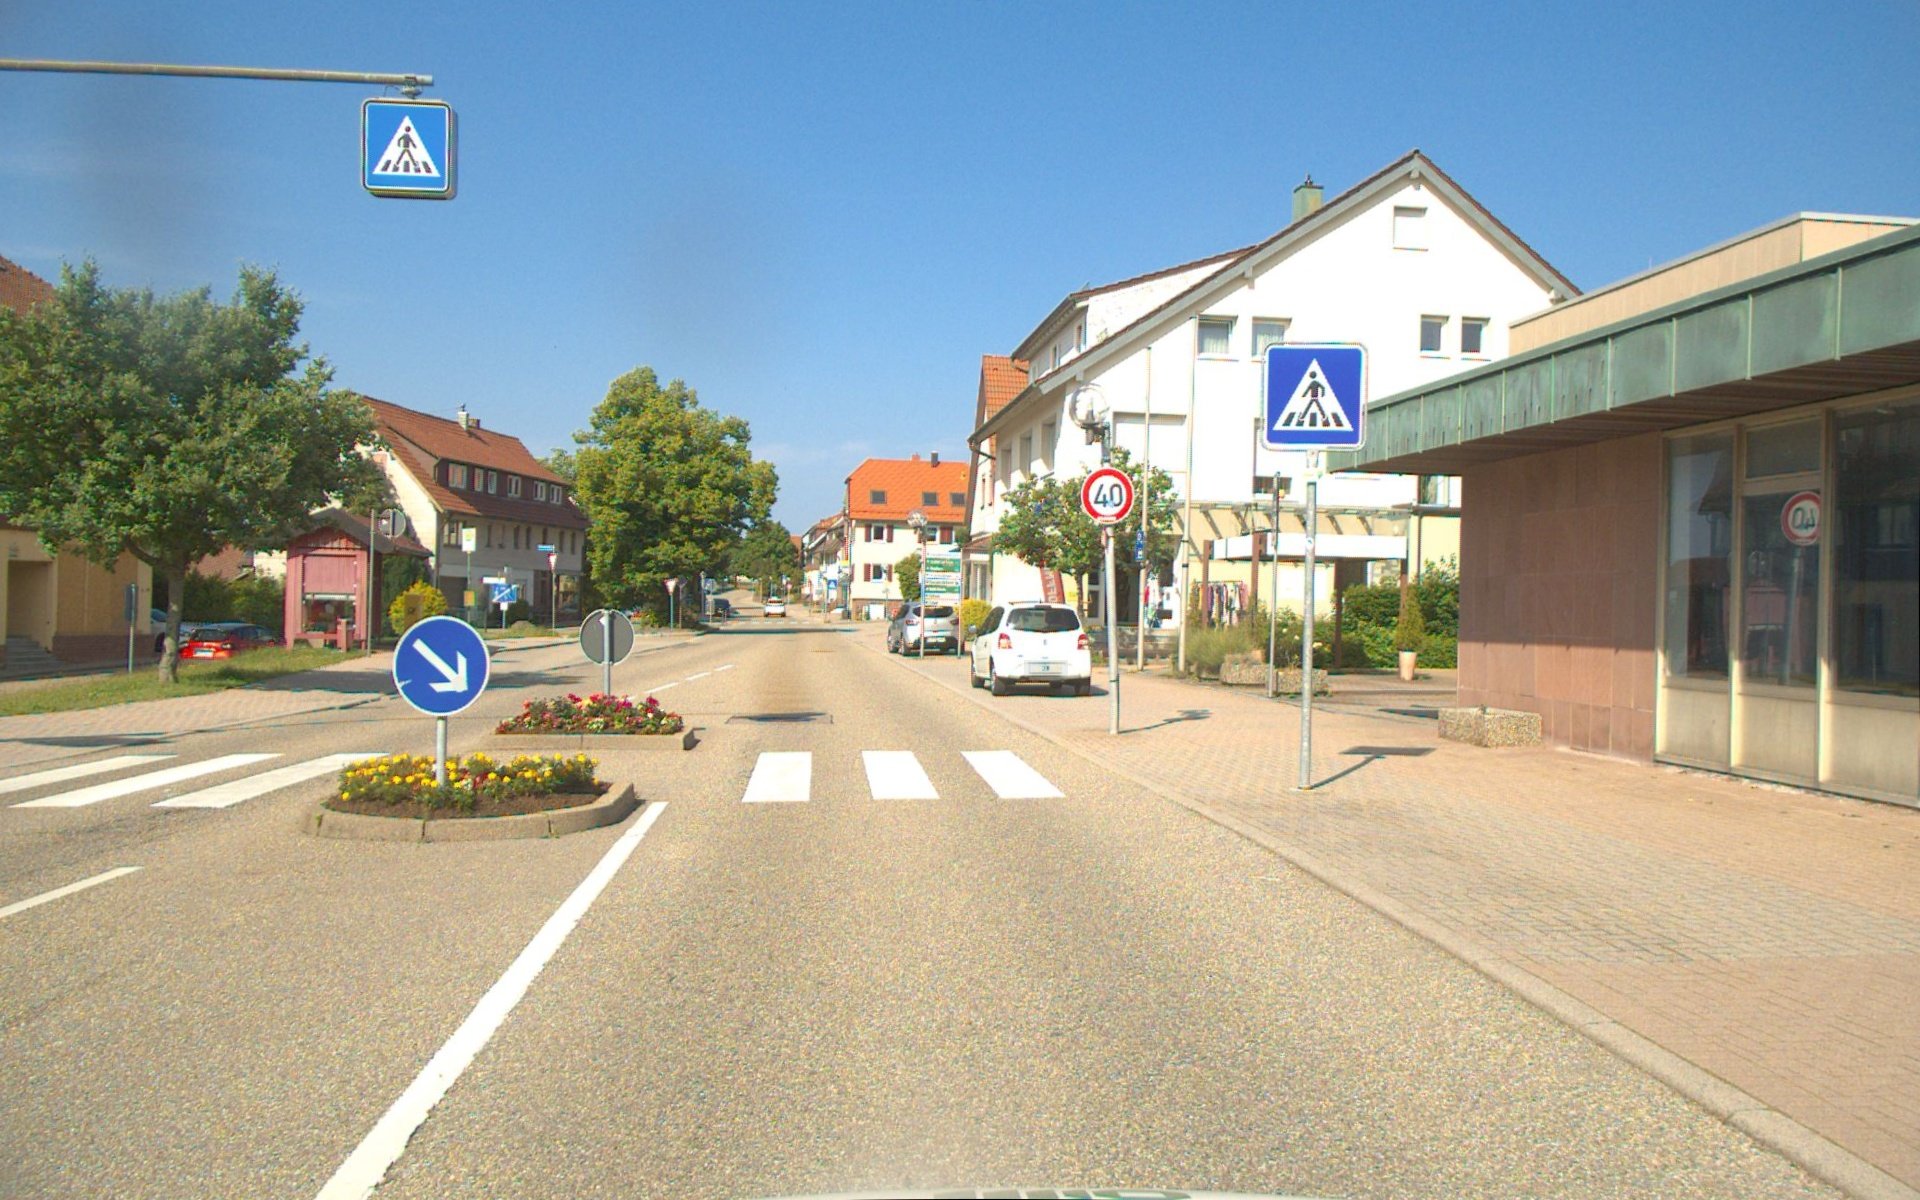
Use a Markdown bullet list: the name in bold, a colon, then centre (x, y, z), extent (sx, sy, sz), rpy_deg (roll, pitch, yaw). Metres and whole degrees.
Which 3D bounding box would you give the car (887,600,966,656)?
- **car**: centre (-0.976, 0.745, 45.795), extent (1.605, 1.444, 3.926), rpy_deg (-1, 0, -10)

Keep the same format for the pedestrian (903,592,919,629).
- **pedestrian**: centre (-2.453, 0.532, 83.686), extent (0.783, 1.815, 0.979), rpy_deg (-1, 0, -2)

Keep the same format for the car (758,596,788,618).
- **car**: centre (-17.931, 0.673, 158.208), extent (2.451, 2.049, 4.293), rpy_deg (-2, 0, -11)

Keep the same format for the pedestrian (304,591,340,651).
- **pedestrian**: centre (-15.183, 0.491, 39.362), extent (0.606, 1.388, 0.673), rpy_deg (-2, 1, -8)

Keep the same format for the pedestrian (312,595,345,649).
- **pedestrian**: centre (-15.247, 0.538, 39.938), extent (0.617, 1.275, 0.423), rpy_deg (-2, 0, -9)

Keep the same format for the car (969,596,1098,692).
- **car**: centre (1.153, 0.673, 27.502), extent (1.725, 1.448, 3.631), rpy_deg (-1, 0, -4)

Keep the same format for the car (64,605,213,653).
- **car**: centre (-28.219, 1.005, 56.886), extent (4.211, 1.538, 1.800), rpy_deg (1, -2, 3)

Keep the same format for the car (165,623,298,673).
- **car**: centre (-21.383, 1.382, 48.709), extent (1.684, 1.320, 4.003), rpy_deg (-1, 0, 8)

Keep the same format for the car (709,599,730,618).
- **car**: centre (-21.834, 0.758, 150.231), extent (1.641, 1.559, 3.530), rpy_deg (4, 0, -7)

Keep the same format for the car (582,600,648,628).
- **car**: centre (-21.690, 0.903, 104.112), extent (3.679, 1.480, 1.818), rpy_deg (-2, -5, 5)

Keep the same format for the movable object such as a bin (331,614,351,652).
- **movable object such as a bin**: centre (-13.899, 0.738, 37.139), extent (0.299, 0.852, 0.484), rpy_deg (-1, 0, -9)
